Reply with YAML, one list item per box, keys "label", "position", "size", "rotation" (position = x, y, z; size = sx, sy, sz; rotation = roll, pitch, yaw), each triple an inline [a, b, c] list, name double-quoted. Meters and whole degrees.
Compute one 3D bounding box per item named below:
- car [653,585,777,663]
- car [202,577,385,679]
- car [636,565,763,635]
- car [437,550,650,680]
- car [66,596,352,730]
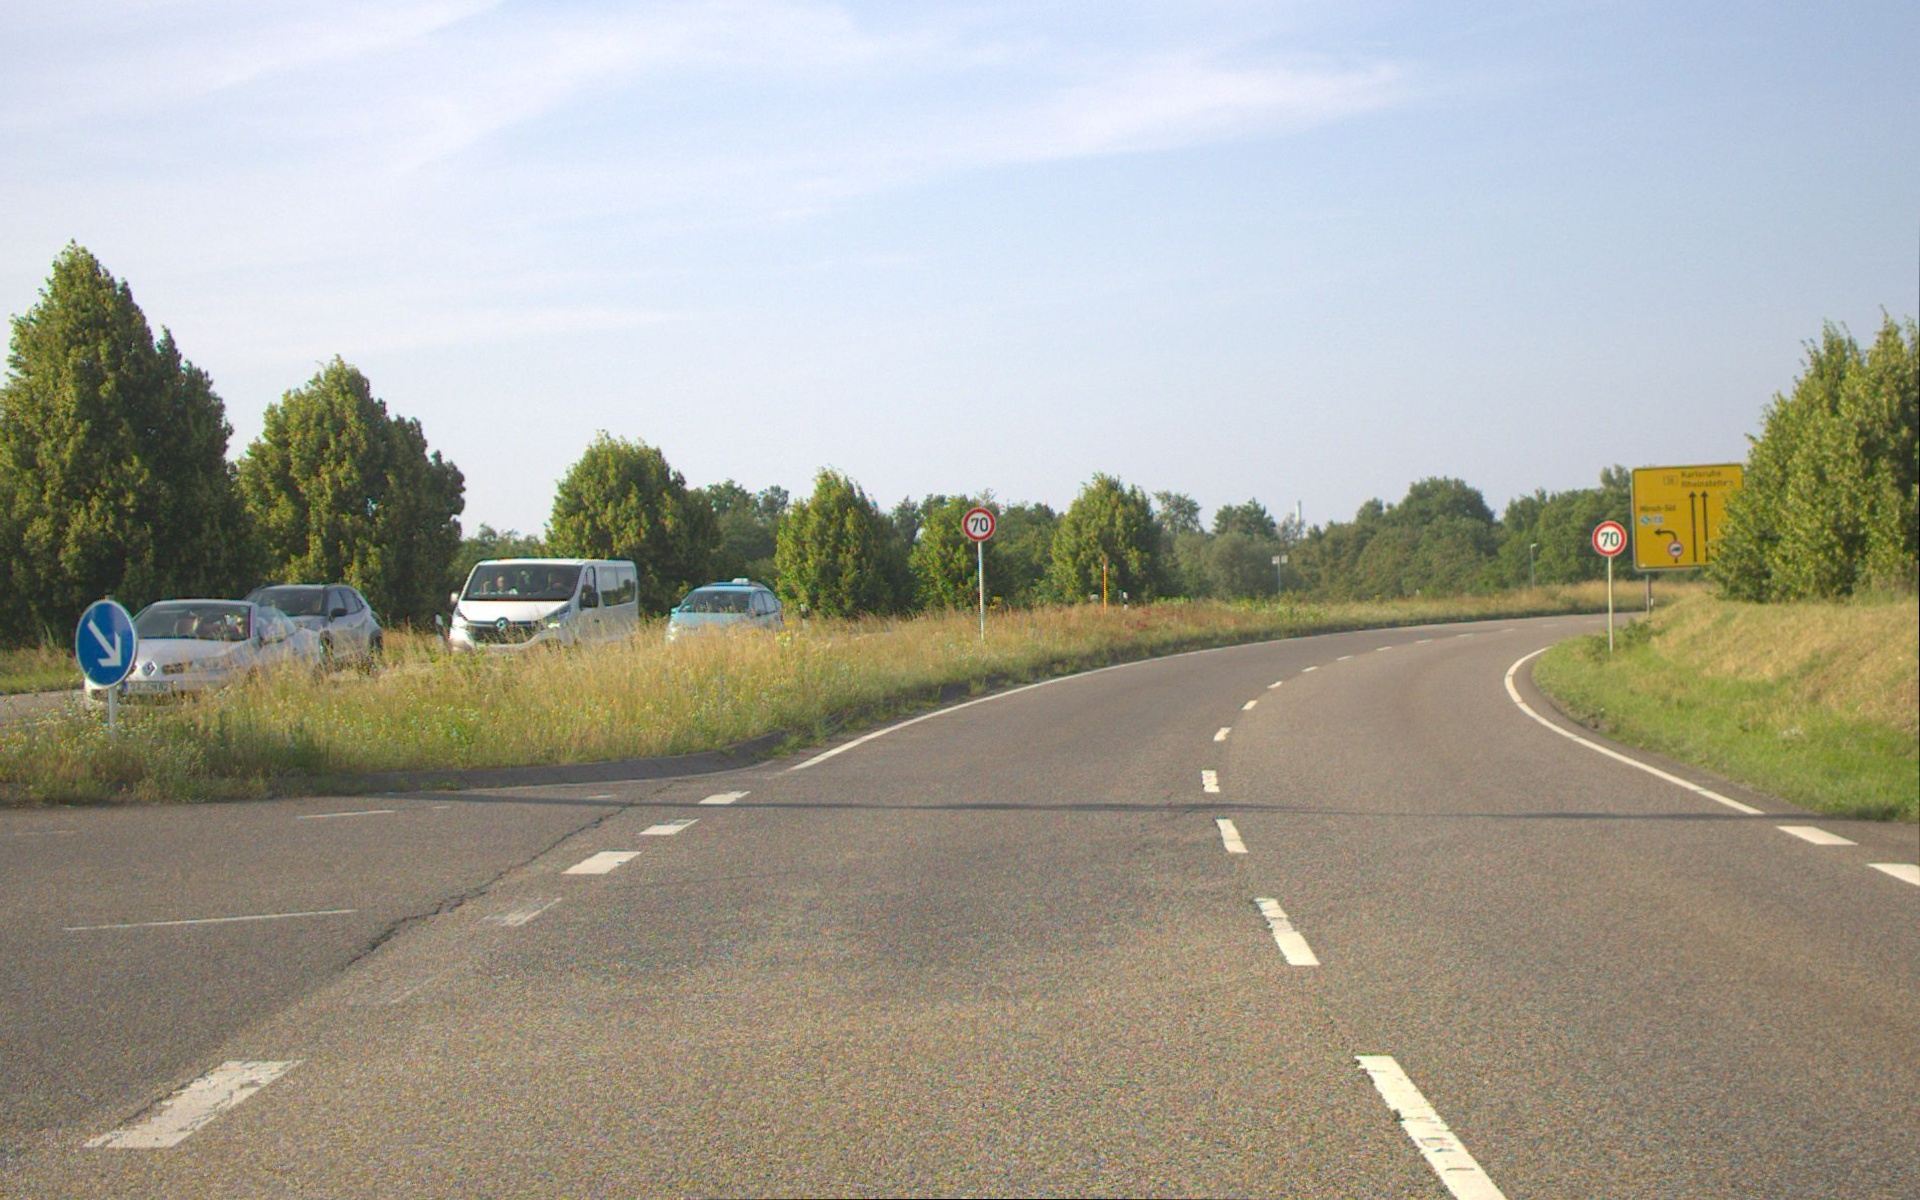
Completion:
- label: "car"
  position: [-4.612, 0.442, 65.171]
  size: [1.679, 1.438, 3.751]
  rotation: [0, 0, 6]
- label: "car"
  position: [-10.314, 0.422, 53.462]
  size: [1.706, 1.520, 4.134]
  rotation: [0, 0, 5]
- label: "car"
  position: [-5.991, -0.008, 79.575]
  size: [1.913, 1.560, 4.609]
  rotation: [0, 0, 9]
- label: "car"
  position: [-6.342, 0.214, 53.043]
  size: [1.994, 1.897, 5.787]
  rotation: [0, 0, 6]
- label: "car"
  position: [-8.021, 0.643, 37.127]
  size: [1.695, 1.348, 4.452]
  rotation: [0, 0, 6]
